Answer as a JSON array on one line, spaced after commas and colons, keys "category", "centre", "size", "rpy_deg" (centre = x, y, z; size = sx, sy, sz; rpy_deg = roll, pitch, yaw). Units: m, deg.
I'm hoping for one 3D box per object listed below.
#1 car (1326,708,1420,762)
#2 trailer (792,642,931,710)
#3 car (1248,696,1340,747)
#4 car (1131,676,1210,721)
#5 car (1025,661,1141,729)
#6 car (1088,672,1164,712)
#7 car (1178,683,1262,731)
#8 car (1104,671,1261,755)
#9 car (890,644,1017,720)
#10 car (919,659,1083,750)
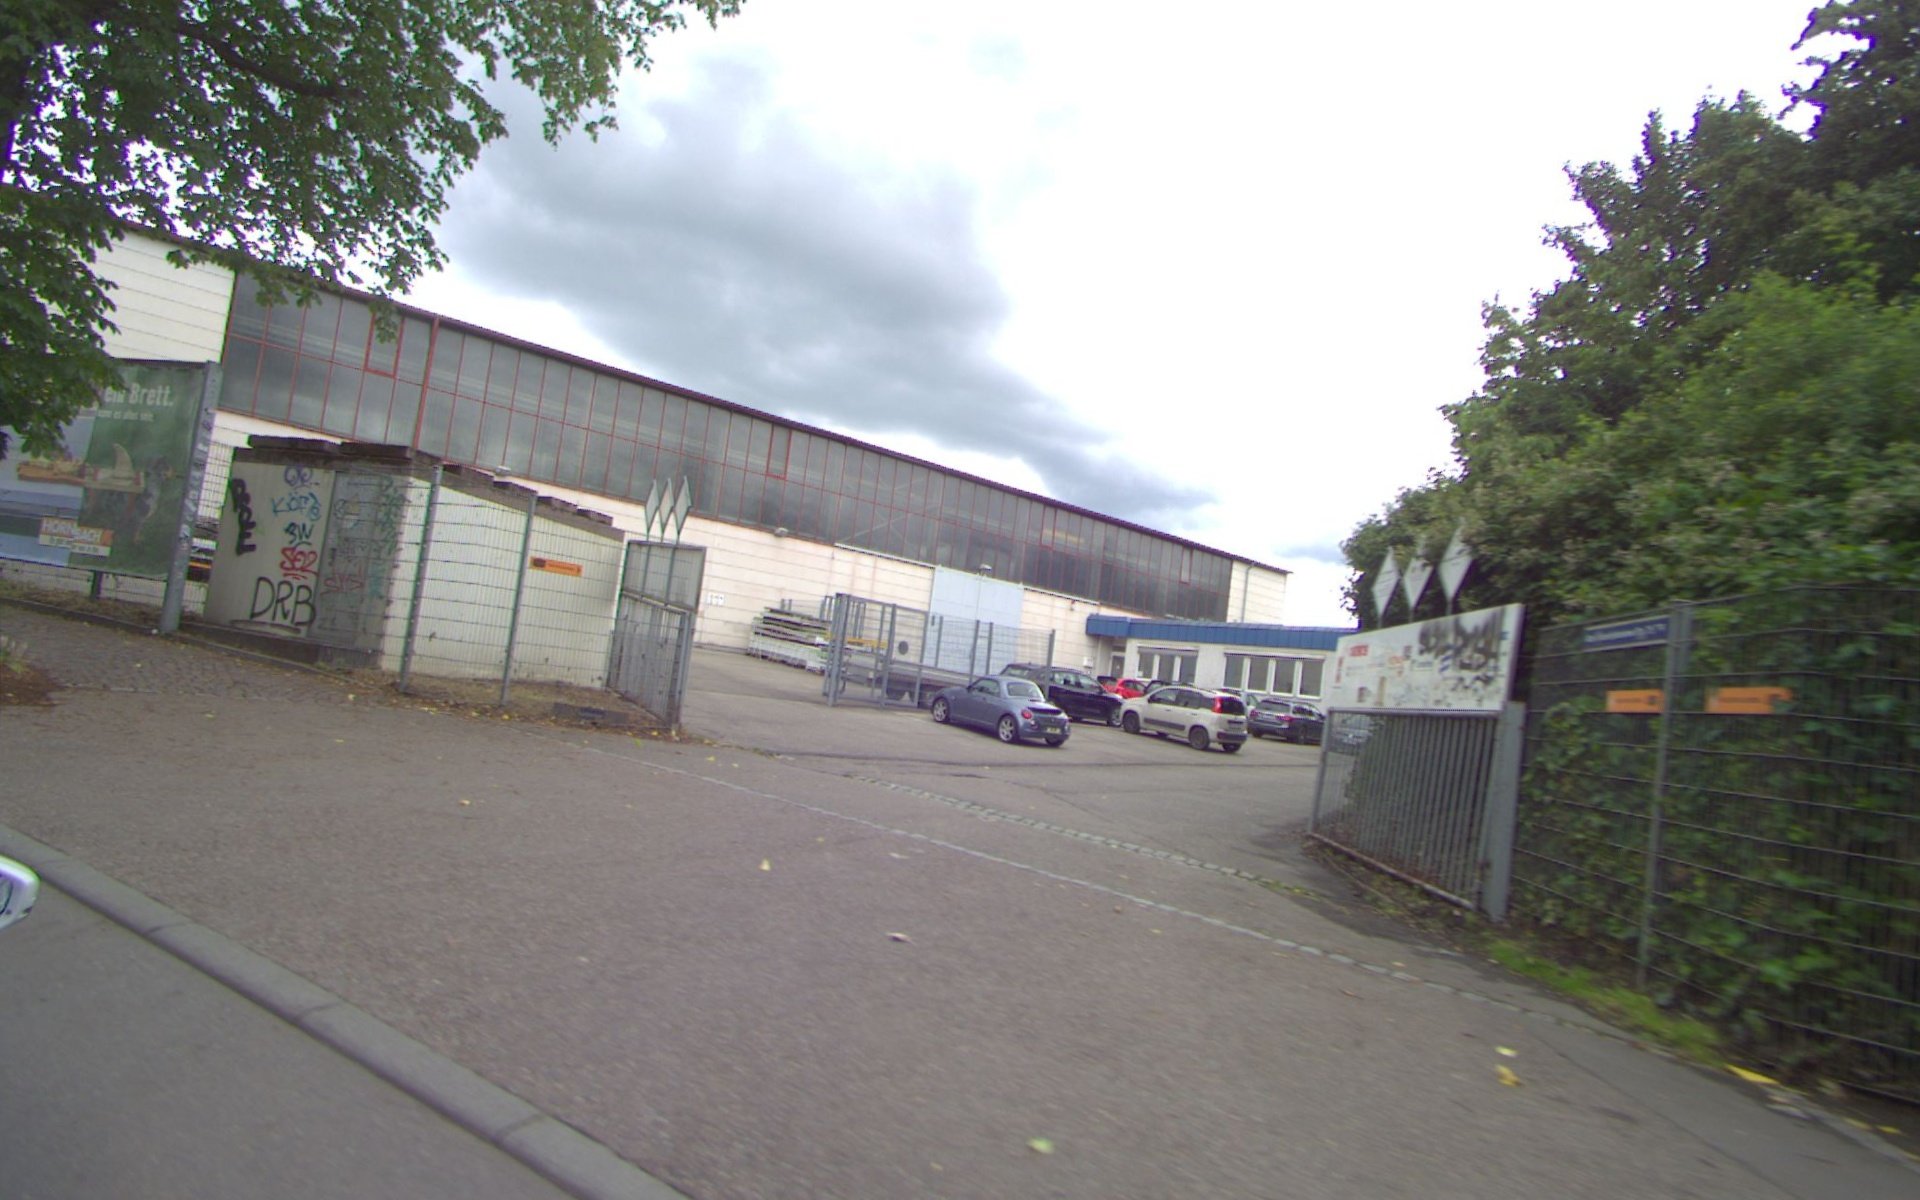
[{"category": "car", "centre": [13.746, 4.494, 33.368], "size": [1.510, 1.346, 3.707], "rpy_deg": [7, -3, 44]}, {"category": "trailer", "centre": [-2.344, 1.815, 24.024], "size": [2.620, 1.149, 1.831], "rpy_deg": [11, -4, -37]}, {"category": "car", "centre": [11.743, 4.279, 35.277], "size": [1.510, 1.346, 3.668], "rpy_deg": [7, -3, 44]}, {"category": "car", "centre": [8.407, 3.940, 40.037], "size": [3.294, 1.346, 1.321], "rpy_deg": [11, -3, -43]}, {"category": "car", "centre": [3.528, 2.723, 28.692], "size": [3.047, 1.458, 1.325], "rpy_deg": [11, -2, -35]}, {"category": "car", "centre": [7.014, 3.884, 42.380], "size": [3.294, 1.222, 1.321], "rpy_deg": [11, -3, -43]}, {"category": "car", "centre": [9.664, 3.992, 37.260], "size": [3.294, 1.346, 1.321], "rpy_deg": [11, -3, -43]}, {"category": "car", "centre": [5.878, 2.983, 26.880], "size": [1.555, 1.550, 3.767], "rpy_deg": [9, -1, -41]}, {"category": "car", "centre": [-0.144, 2.098, 25.621], "size": [2.832, 1.456, 1.358], "rpy_deg": [11, -2, -36]}, {"category": "car", "centre": [0.798, 2.165, 21.203], "size": [1.462, 1.267, 3.331], "rpy_deg": [9, -1, -41]}]
